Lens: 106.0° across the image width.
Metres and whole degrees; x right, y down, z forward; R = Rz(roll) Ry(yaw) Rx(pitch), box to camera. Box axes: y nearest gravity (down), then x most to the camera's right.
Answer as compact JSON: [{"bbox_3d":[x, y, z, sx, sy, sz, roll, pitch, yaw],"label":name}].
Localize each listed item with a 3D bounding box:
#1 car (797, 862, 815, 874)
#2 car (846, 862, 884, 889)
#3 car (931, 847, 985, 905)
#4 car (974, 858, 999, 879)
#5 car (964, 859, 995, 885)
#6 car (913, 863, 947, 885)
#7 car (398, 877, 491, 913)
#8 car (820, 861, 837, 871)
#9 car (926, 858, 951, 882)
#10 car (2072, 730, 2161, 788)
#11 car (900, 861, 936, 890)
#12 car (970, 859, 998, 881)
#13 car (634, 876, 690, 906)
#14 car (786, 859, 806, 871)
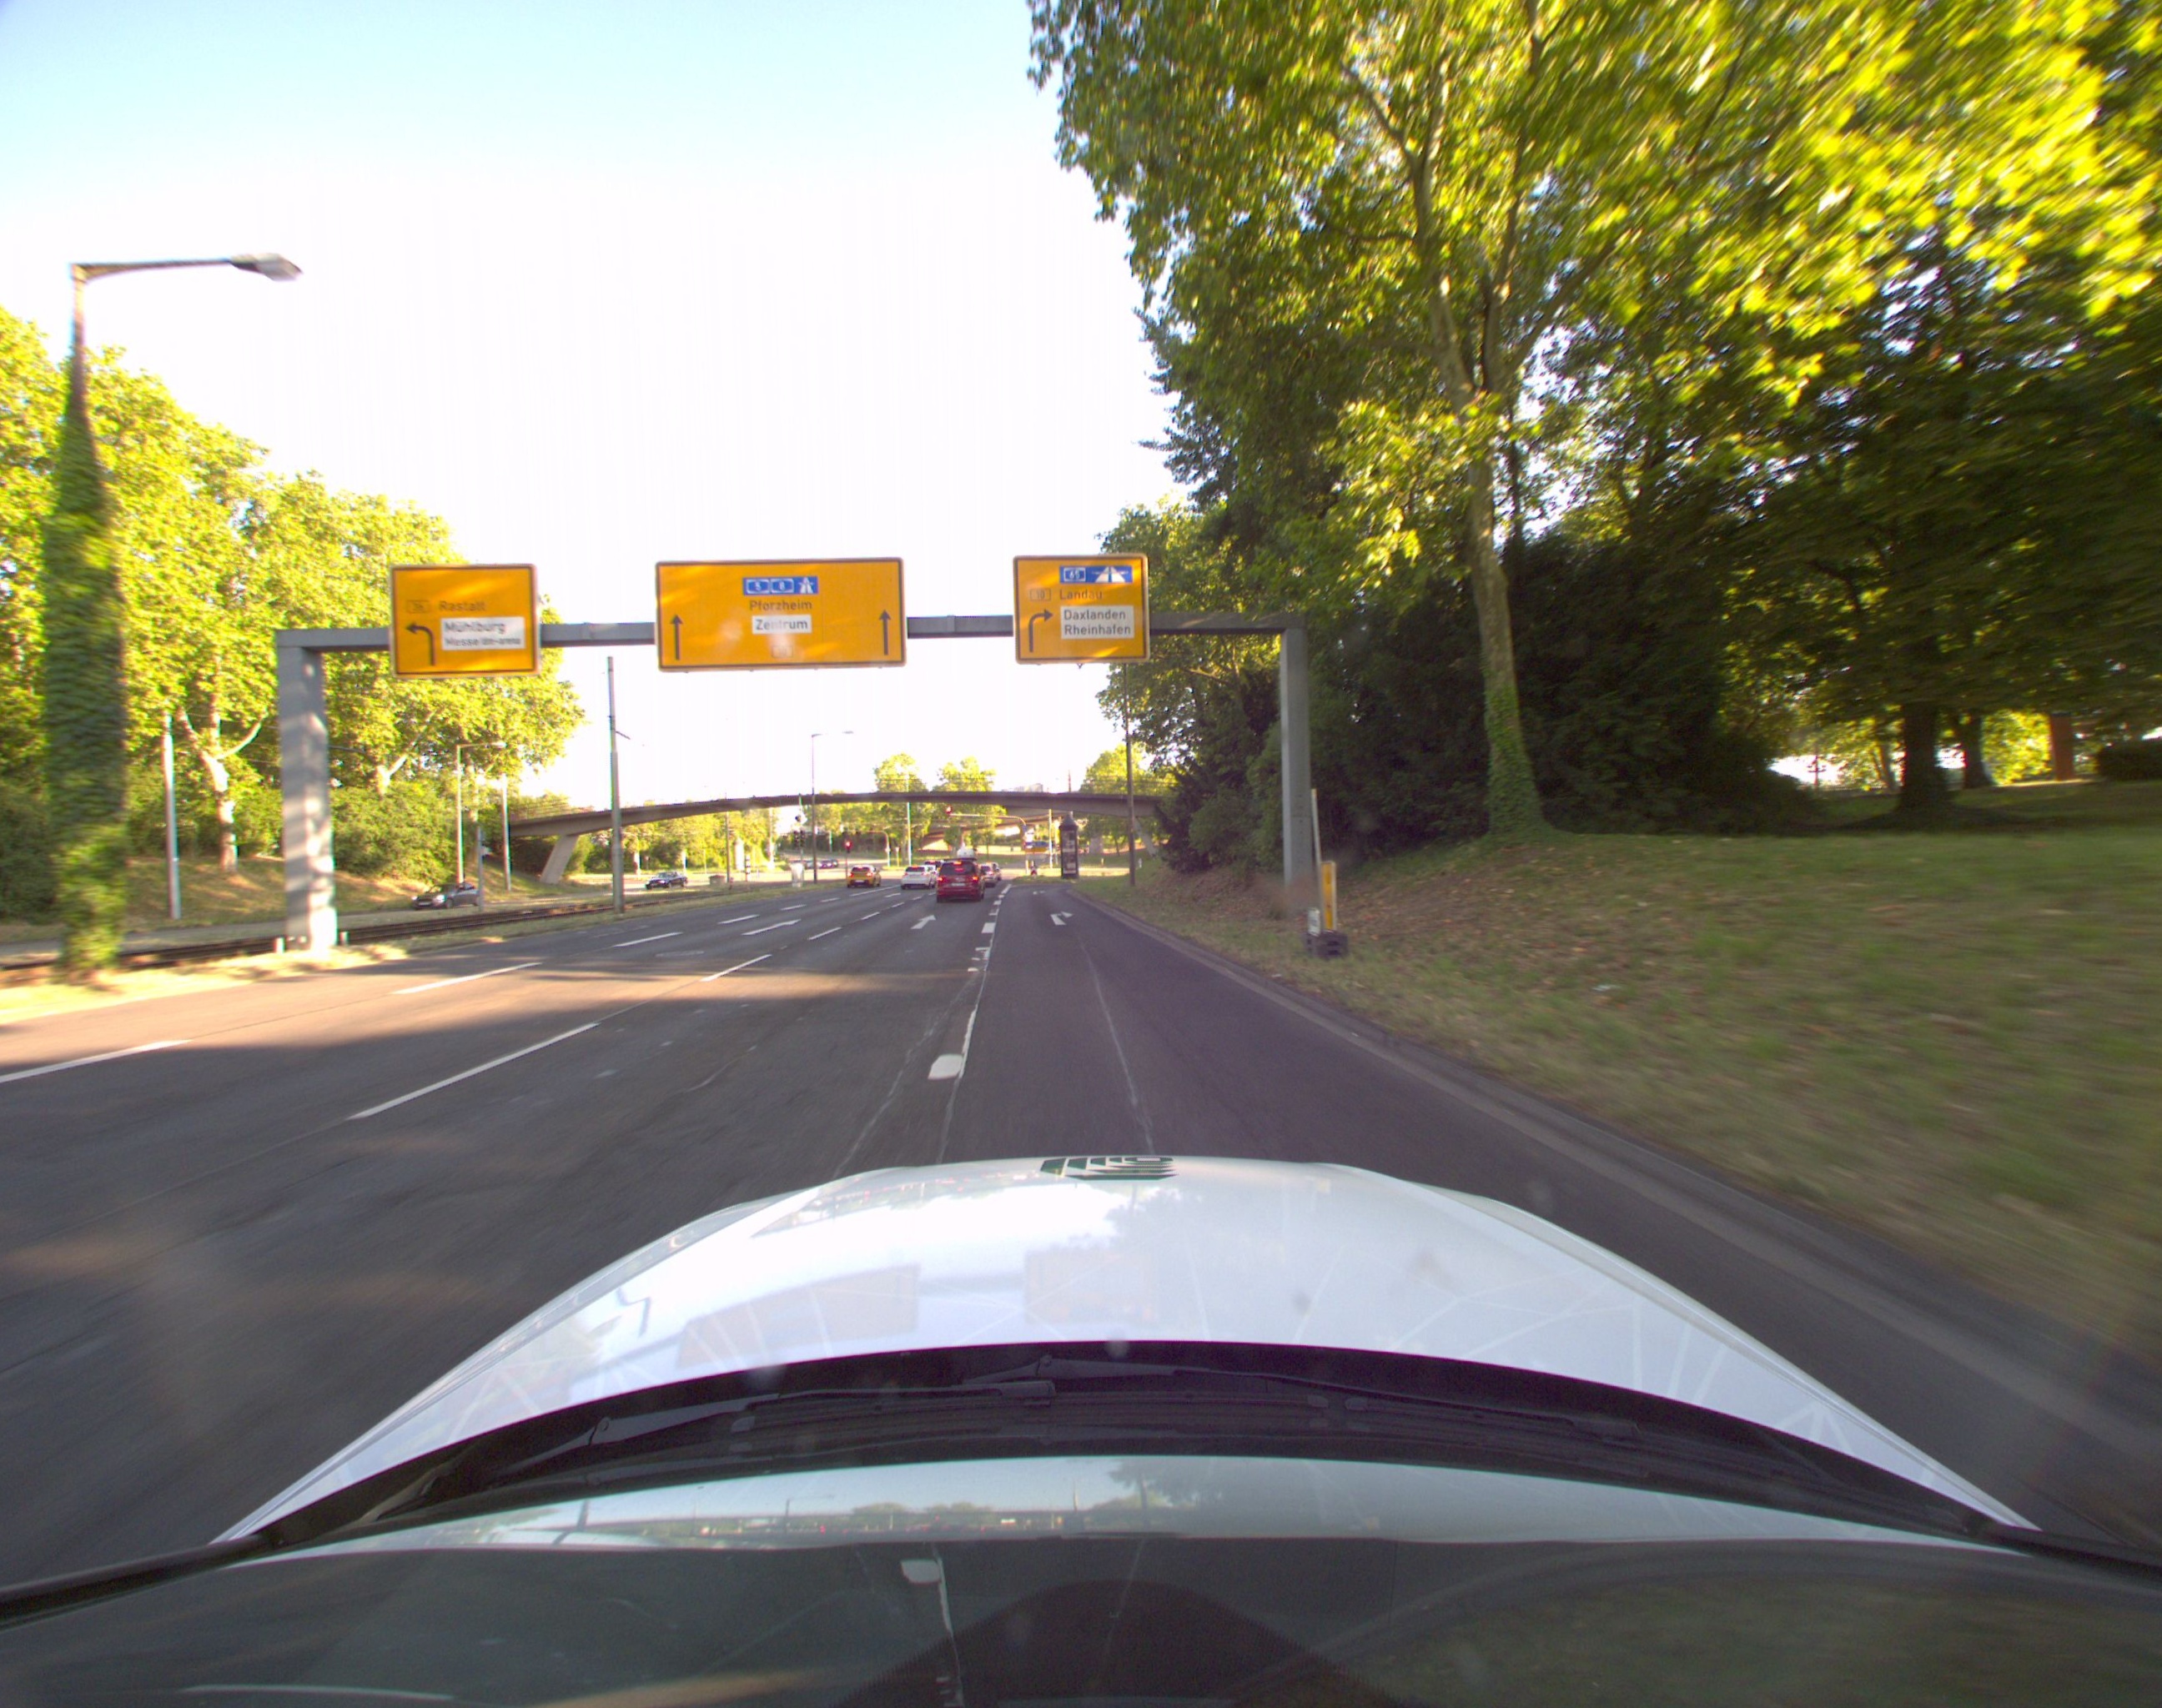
[{"bbox_3d":[-44.402,2.270,131.739,1.876,1.772,3.992,-1,0,-6],"label":"car"},{"bbox_3d":[-14.115,1.350,53.447,1.660,1.565,3.993,-4,0,-5],"label":"car"},{"bbox_3d":[-4.940,0.845,33.083,1.789,2.105,3.993,-4,0,-5],"label":"car"},{"bbox_3d":[-7.590,1.144,65.897,1.789,1.442,3.993,-4,0,-5],"label":"car"},{"bbox_3d":[-6.599,1.162,53.239,1.789,1.481,3.993,-4,0,-5],"label":"car"},{"bbox_3d":[-10.630,1.360,57.478,1.737,1.432,4.407,-1,0,-3],"label":"car"},{"bbox_3d":[-35.163,2.208,45.154,1.991,1.681,4.183,-3,0,-5],"label":"car"},{"bbox_3d":[-39.455,1.864,127.311,1.876,1.575,3.667,-1,0,-6],"label":"car"},{"bbox_3d":[-11.369,1.239,65.028,1.792,1.792,4.811,-4,0,-9],"label":"car"},{"bbox_3d":[33.790,-3.016,25.032,3.963,1.552,1.813,-3,0,9],"label":"car"},{"bbox_3d":[-10.071,1.281,50.544,1.660,1.565,4.184,-4,0,-5],"label":"car"},{"bbox_3d":[-7.058,1.155,59.701,1.789,1.382,4.469,-4,0,-5],"label":"car"},{"bbox_3d":[-33.618,2.931,65.531,1.912,2.013,4.514,-3,0,2],"label":"car"},{"bbox_3d":[-43.348,1.632,123.937,1.876,1.772,3.992,-1,0,-6],"label":"car"}]
